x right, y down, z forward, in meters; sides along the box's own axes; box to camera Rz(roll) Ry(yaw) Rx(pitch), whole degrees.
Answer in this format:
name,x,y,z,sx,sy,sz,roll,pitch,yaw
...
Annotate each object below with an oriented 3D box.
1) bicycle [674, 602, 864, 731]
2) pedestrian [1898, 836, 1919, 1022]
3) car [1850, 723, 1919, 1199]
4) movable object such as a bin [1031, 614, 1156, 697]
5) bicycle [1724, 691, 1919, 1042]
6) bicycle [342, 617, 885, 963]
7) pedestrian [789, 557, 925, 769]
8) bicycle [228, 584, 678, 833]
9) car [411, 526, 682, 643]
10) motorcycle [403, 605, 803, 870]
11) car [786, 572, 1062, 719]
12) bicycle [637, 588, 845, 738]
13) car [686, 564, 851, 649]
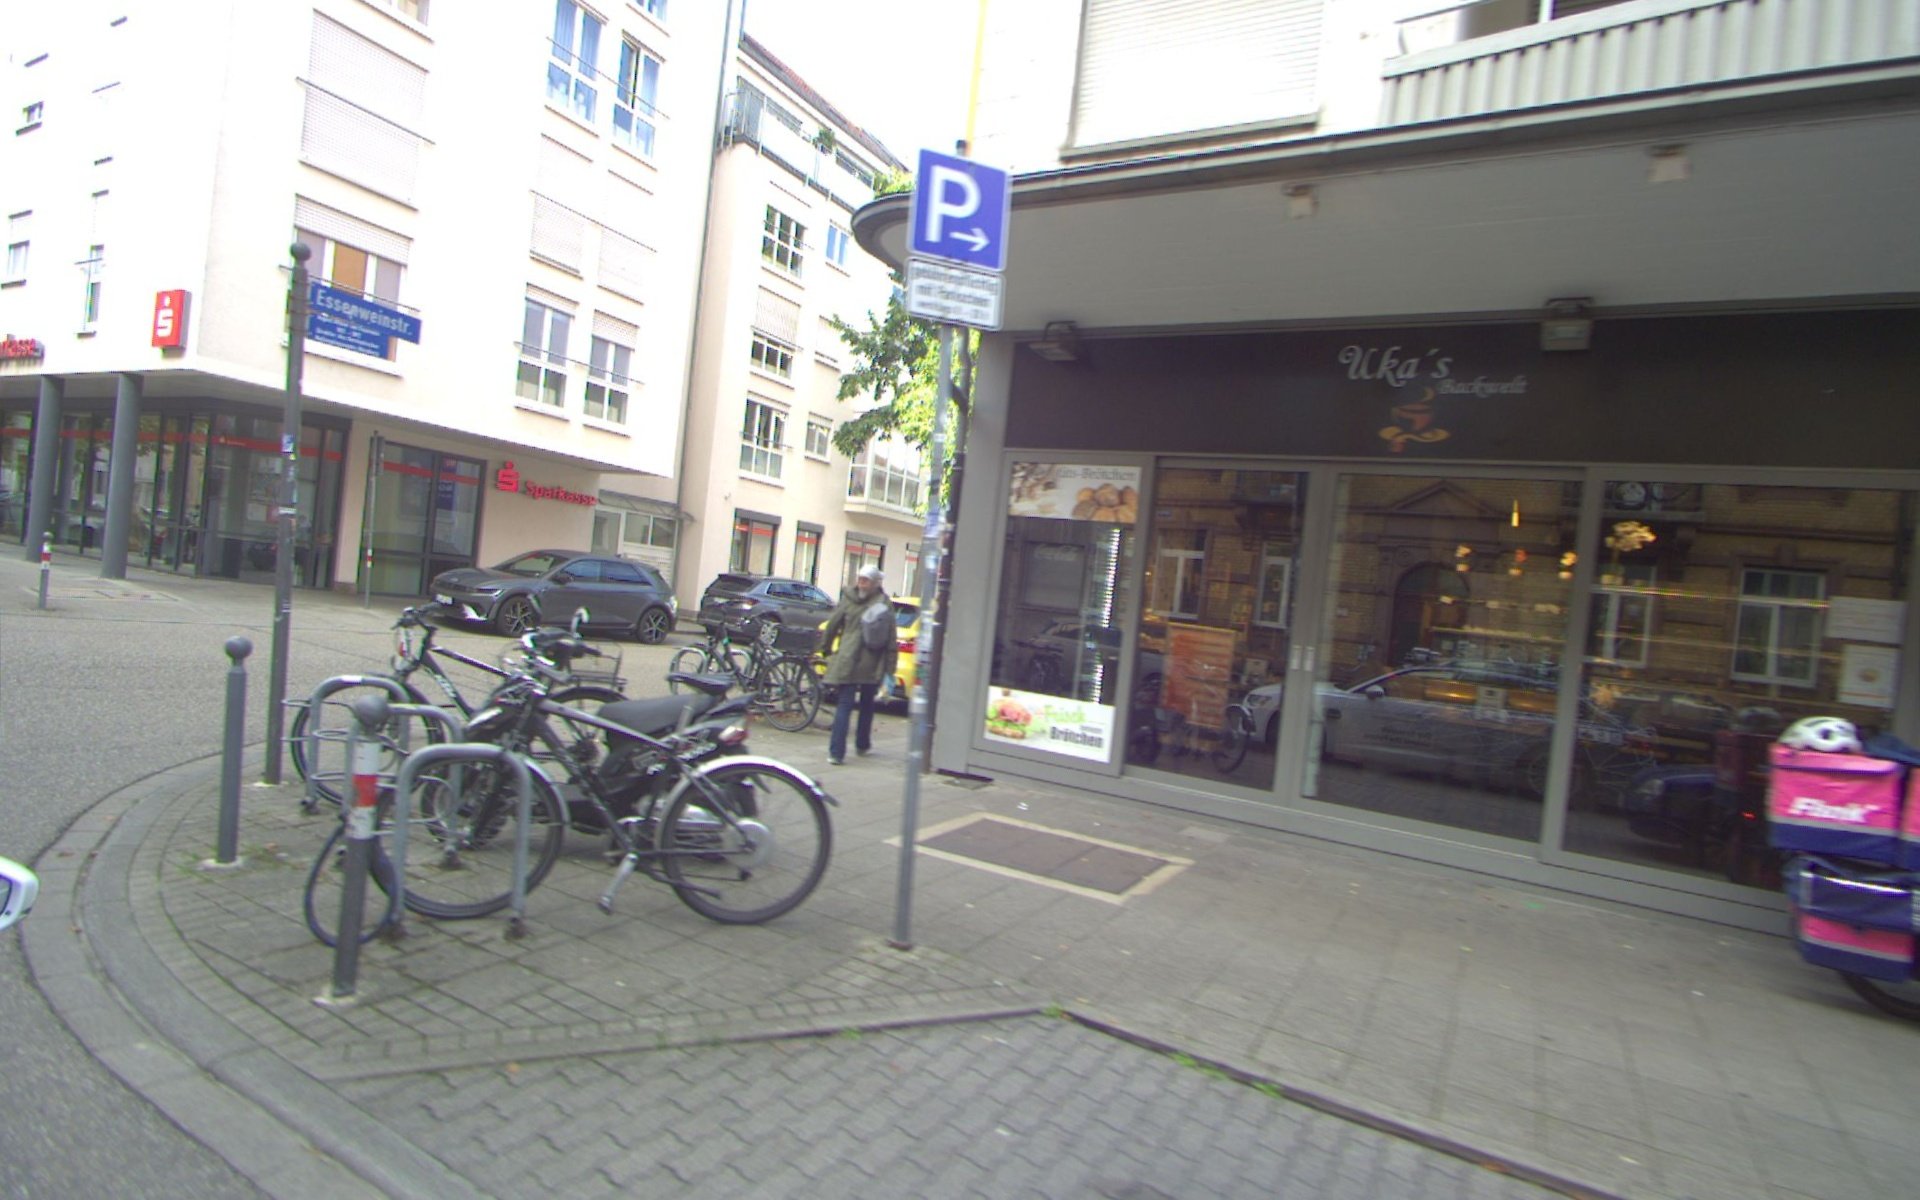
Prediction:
name,x,y,z,sx,sy,sz,roll,pitch,yaw
bicycle,-1.961,0.655,10.252,1.892,1.077,0.446,6,1,22
pedestrian,4.594,1.073,4.167,0.768,1.610,0.644,7,3,32
car,3.296,1.159,0.516,3.963,1.458,1.596,7,1,32
movable object such as a bin,2.716,1.117,20.385,2.158,1.474,1.315,4,-1,24
bicycle,4.771,1.217,4.069,2.457,1.308,0.919,7,3,31
bicycle,-1.257,0.712,3.883,1.743,1.109,0.681,5,2,-17
pedestrian,-0.864,0.497,8.259,0.814,1.609,0.777,5,1,-18
bicycle,-2.530,0.565,5.275,1.933,1.109,0.687,5,1,-17
car,-7.565,-0.208,18.845,1.777,1.651,4.366,9,1,31
motorcycle,-1.666,0.662,4.867,1.640,1.109,0.606,5,2,-17
car,-0.312,0.603,13.280,1.767,1.519,3.789,6,0,31
bicycle,-2.137,0.579,9.751,1.898,1.206,0.535,6,1,22
car,-4.452,0.203,23.783,1.615,1.587,3.606,9,1,34
